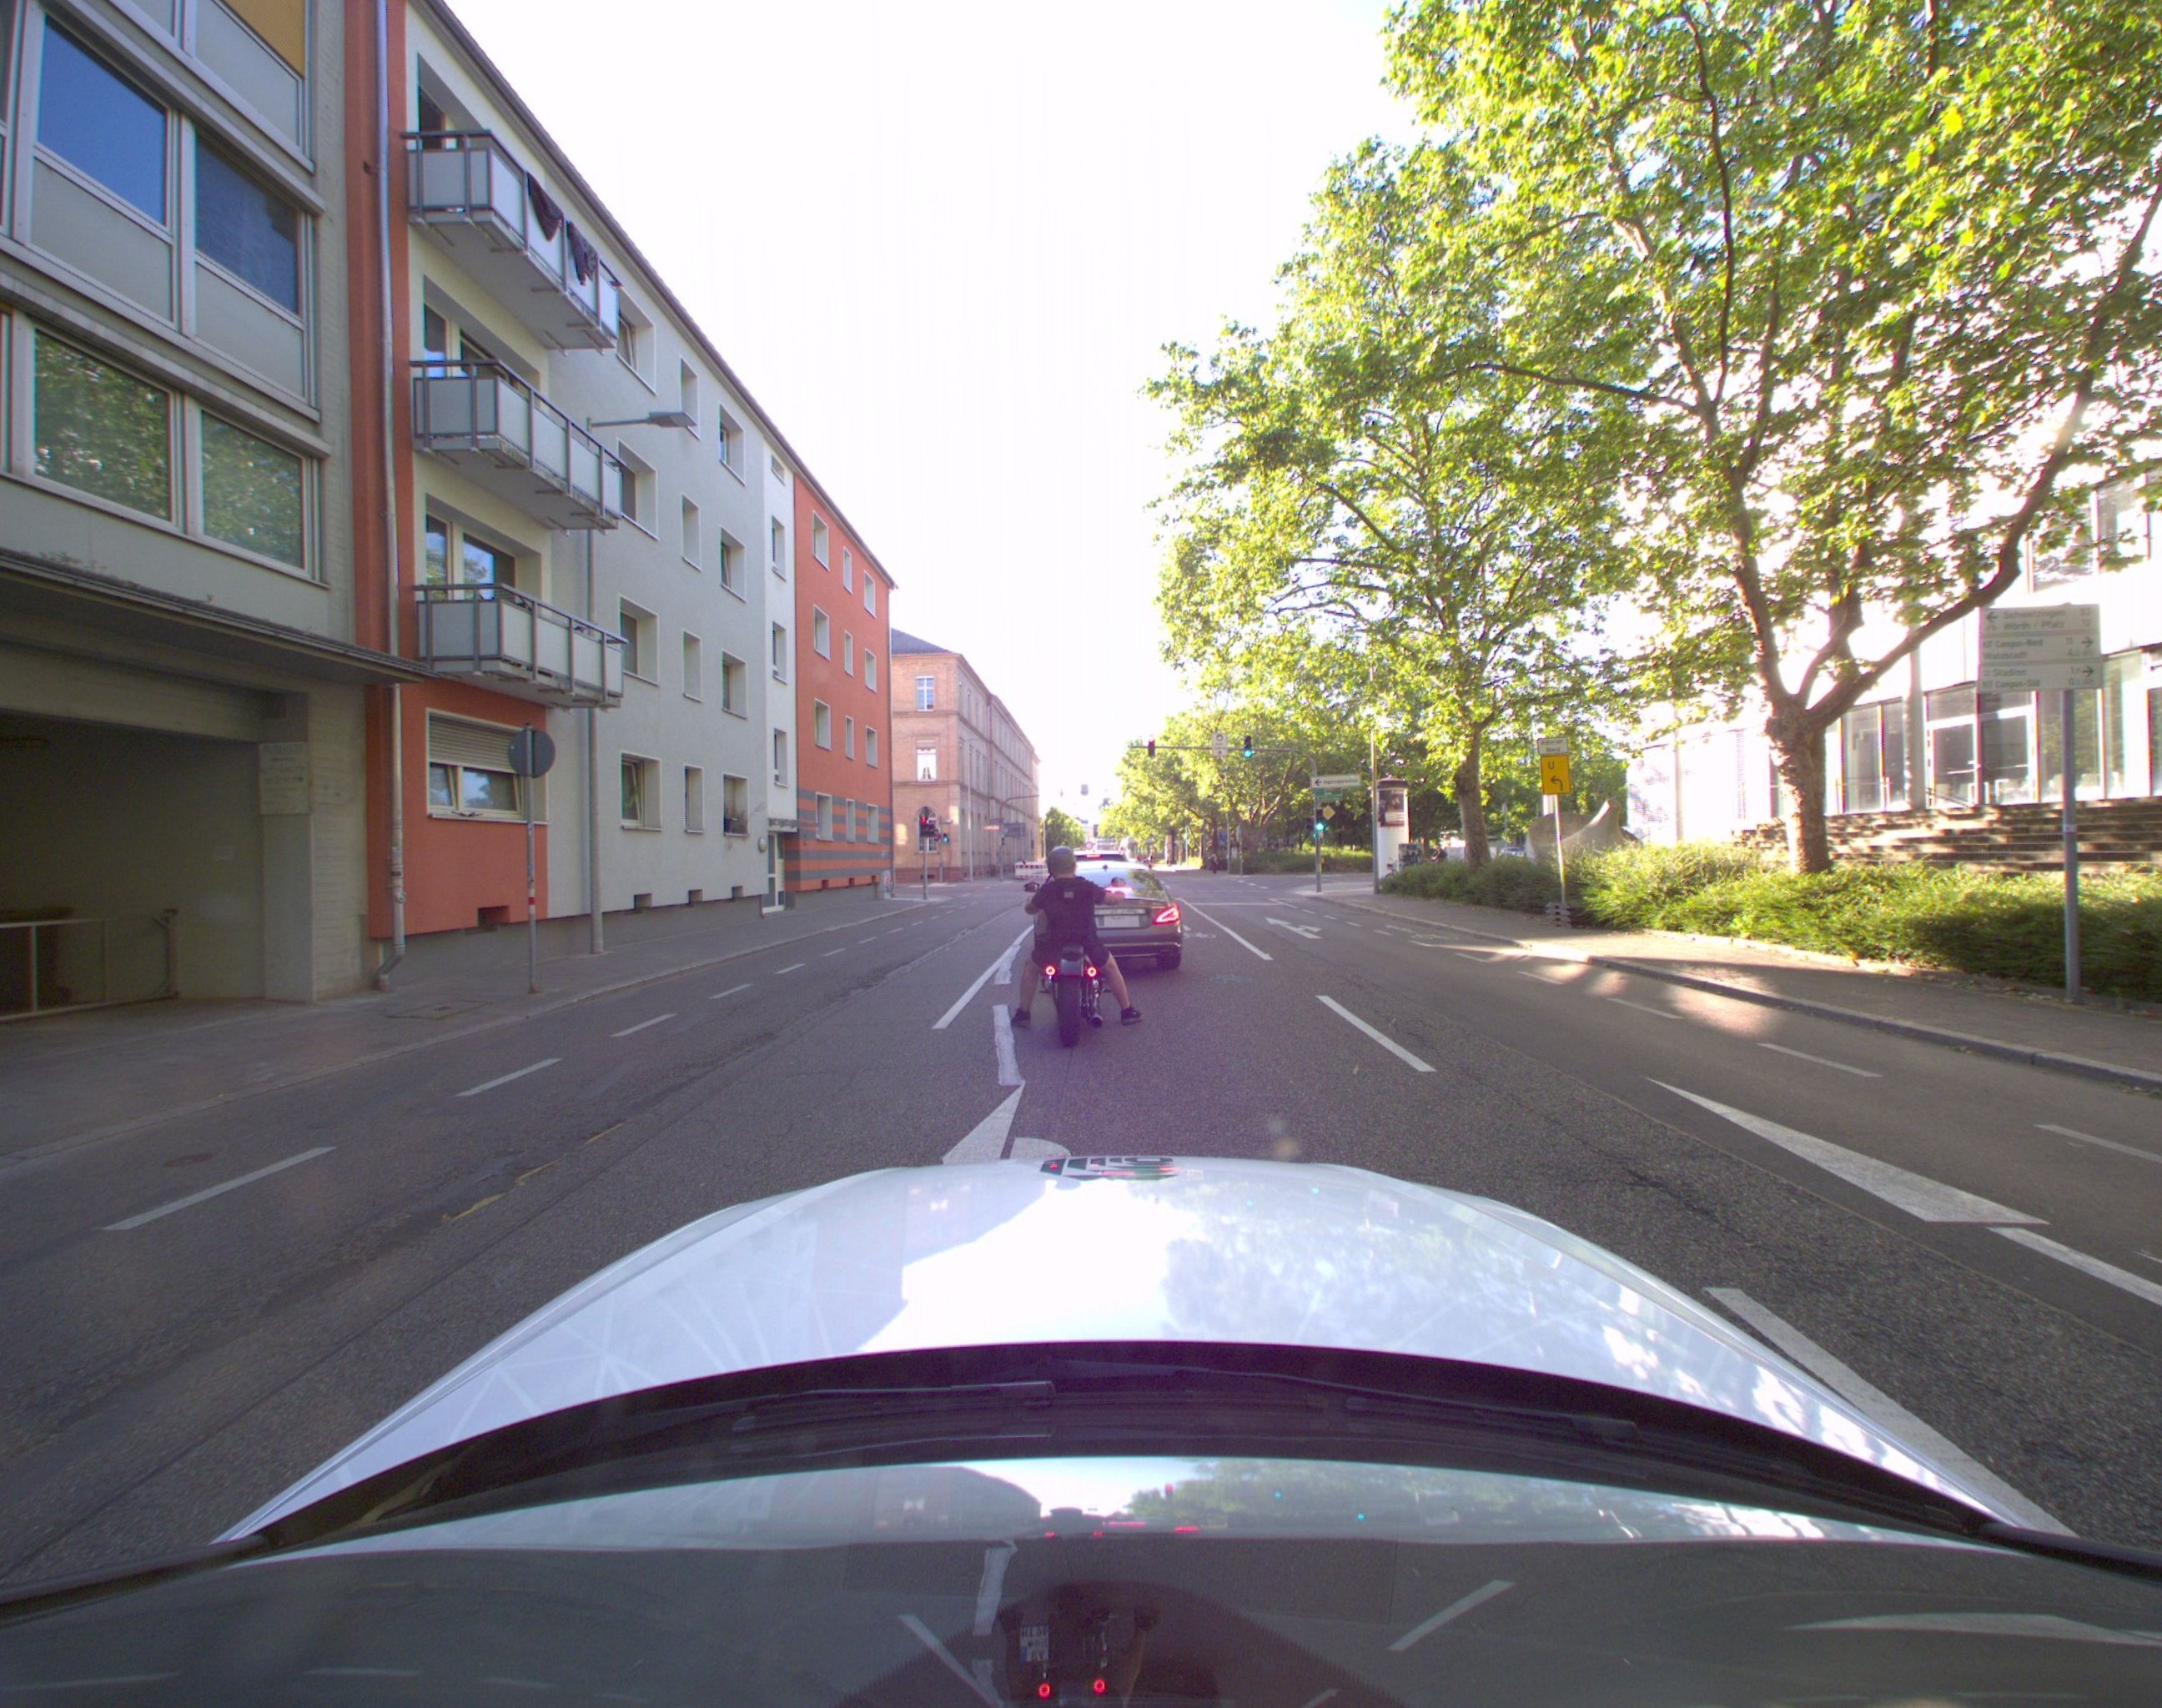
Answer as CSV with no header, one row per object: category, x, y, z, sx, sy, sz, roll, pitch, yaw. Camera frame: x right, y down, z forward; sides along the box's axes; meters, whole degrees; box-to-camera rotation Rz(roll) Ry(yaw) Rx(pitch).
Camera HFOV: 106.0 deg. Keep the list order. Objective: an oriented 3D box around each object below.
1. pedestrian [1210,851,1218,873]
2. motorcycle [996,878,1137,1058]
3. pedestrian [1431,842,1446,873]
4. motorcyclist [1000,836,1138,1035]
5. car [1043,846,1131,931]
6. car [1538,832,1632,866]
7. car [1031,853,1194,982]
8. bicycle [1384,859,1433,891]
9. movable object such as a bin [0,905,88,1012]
pedestrian,10.245,0.576,62.673,0.557,1.678,0.565,-1,0,1
motorcycle,-0.060,0.870,7.247,1.003,1.204,2.666,-1,0,2
pedestrian,21.032,0.188,47.876,0.617,1.784,0.631,-1,0,4
motorcyclist,-0.081,0.671,7.294,1.109,1.613,1.202,-1,0,1
car,0.142,0.675,17.818,1.676,1.625,3.841,-1,0,1
car,28.169,-0.254,45.627,3.975,1.784,2.004,-1,0,7
car,0.248,0.750,11.759,1.818,1.476,4.346,-1,0,-5
bicycle,10.978,0.708,27.331,1.411,1.037,0.538,-1,0,-2
movable object such as a bin,-11.280,1.093,8.648,0.584,1.040,0.712,-1,0,2
